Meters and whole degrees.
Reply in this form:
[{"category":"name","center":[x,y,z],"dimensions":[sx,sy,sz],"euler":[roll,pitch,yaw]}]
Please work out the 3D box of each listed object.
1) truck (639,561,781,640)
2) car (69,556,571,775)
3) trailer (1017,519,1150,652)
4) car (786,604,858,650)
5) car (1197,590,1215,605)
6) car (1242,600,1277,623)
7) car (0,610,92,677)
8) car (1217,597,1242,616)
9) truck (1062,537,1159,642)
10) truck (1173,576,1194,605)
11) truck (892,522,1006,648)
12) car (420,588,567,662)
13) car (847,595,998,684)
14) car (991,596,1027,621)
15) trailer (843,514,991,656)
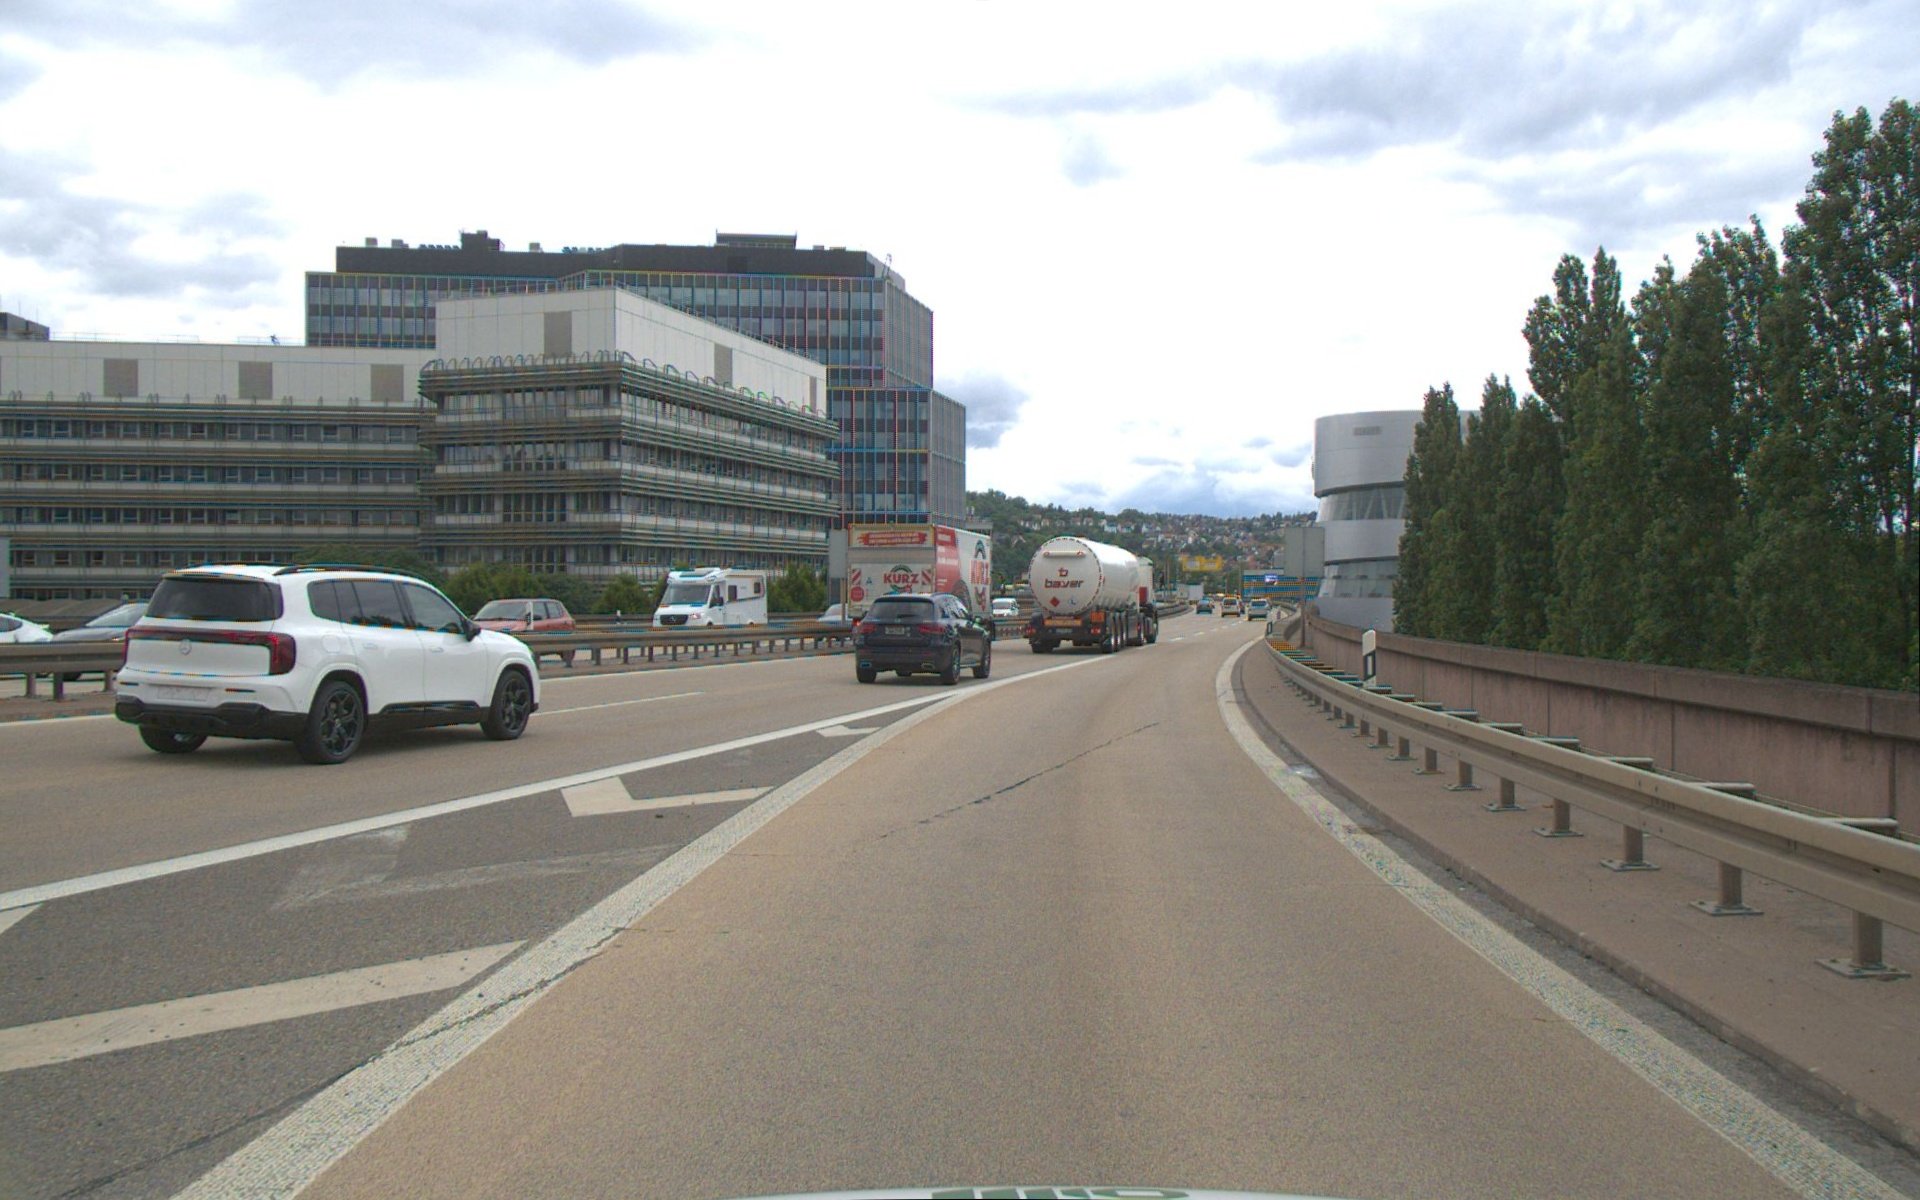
[{"category":"truck","center":[-9.094,0.001,61.111],"dimensions":[2.437,2.672,7.354],"euler":[-2,0,14]},{"category":"car","center":[-5.811,0.526,15.861],"dimensions":[1.951,1.697,4.895],"euler":[2,0,15]},{"category":"trailer","center":[4.203,-0.455,53.602],"dimensions":[2.732,3.802,11.165],"euler":[-2,0,12]},{"category":"car","center":[-5.111,0.992,61.817],"dimensions":[1.609,1.613,3.722],"euler":[-2,0,13]},{"category":"car","center":[27.742,-0.285,186.536],"dimensions":[1.951,1.565,4.003],"euler":[0,-1,9]},{"category":"car","center":[23.794,0.928,131.304],"dimensions":[1.953,1.564,4.000],"euler":[6,1,20]},{"category":"car","center":[-19.017,0.865,31.844],"dimensions":[1.607,1.256,4.284],"euler":[-2,0,14]},{"category":"car","center":[25.722,0.588,157.857],"dimensions":[1.952,1.564,4.003],"euler":[5,0,14]},{"category":"truck","center":[5.495,-0.372,59.623],"dimensions":[2.710,3.490,5.970],"euler":[-2,0,12]},{"category":"truck","center":[31.091,-1.305,229.750],"dimensions":[2.343,3.961,5.948],"euler":[-2,0,12]},{"category":"truck","center":[-0.276,-0.455,52.367],"dimensions":[2.633,3.754,4.443],"euler":[-2,0,12]},{"category":"car","center":[-10.705,0.578,38.182],"dimensions":[1.658,1.578,3.645],"euler":[-2,-1,14]},{"category":"car","center":[-0.621,0.700,31.230],"dimensions":[1.807,1.531,4.269],"euler":[1,0,13]},{"category":"car","center":[3.518,0.588,117.600],"dimensions":[1.827,1.741,4.605],"euler":[-2,0,11]},{"category":"trailer","center":[-1.112,-0.427,48.294],"dimensions":[2.633,3.754,7.319],"euler":[-2,0,12]}]
